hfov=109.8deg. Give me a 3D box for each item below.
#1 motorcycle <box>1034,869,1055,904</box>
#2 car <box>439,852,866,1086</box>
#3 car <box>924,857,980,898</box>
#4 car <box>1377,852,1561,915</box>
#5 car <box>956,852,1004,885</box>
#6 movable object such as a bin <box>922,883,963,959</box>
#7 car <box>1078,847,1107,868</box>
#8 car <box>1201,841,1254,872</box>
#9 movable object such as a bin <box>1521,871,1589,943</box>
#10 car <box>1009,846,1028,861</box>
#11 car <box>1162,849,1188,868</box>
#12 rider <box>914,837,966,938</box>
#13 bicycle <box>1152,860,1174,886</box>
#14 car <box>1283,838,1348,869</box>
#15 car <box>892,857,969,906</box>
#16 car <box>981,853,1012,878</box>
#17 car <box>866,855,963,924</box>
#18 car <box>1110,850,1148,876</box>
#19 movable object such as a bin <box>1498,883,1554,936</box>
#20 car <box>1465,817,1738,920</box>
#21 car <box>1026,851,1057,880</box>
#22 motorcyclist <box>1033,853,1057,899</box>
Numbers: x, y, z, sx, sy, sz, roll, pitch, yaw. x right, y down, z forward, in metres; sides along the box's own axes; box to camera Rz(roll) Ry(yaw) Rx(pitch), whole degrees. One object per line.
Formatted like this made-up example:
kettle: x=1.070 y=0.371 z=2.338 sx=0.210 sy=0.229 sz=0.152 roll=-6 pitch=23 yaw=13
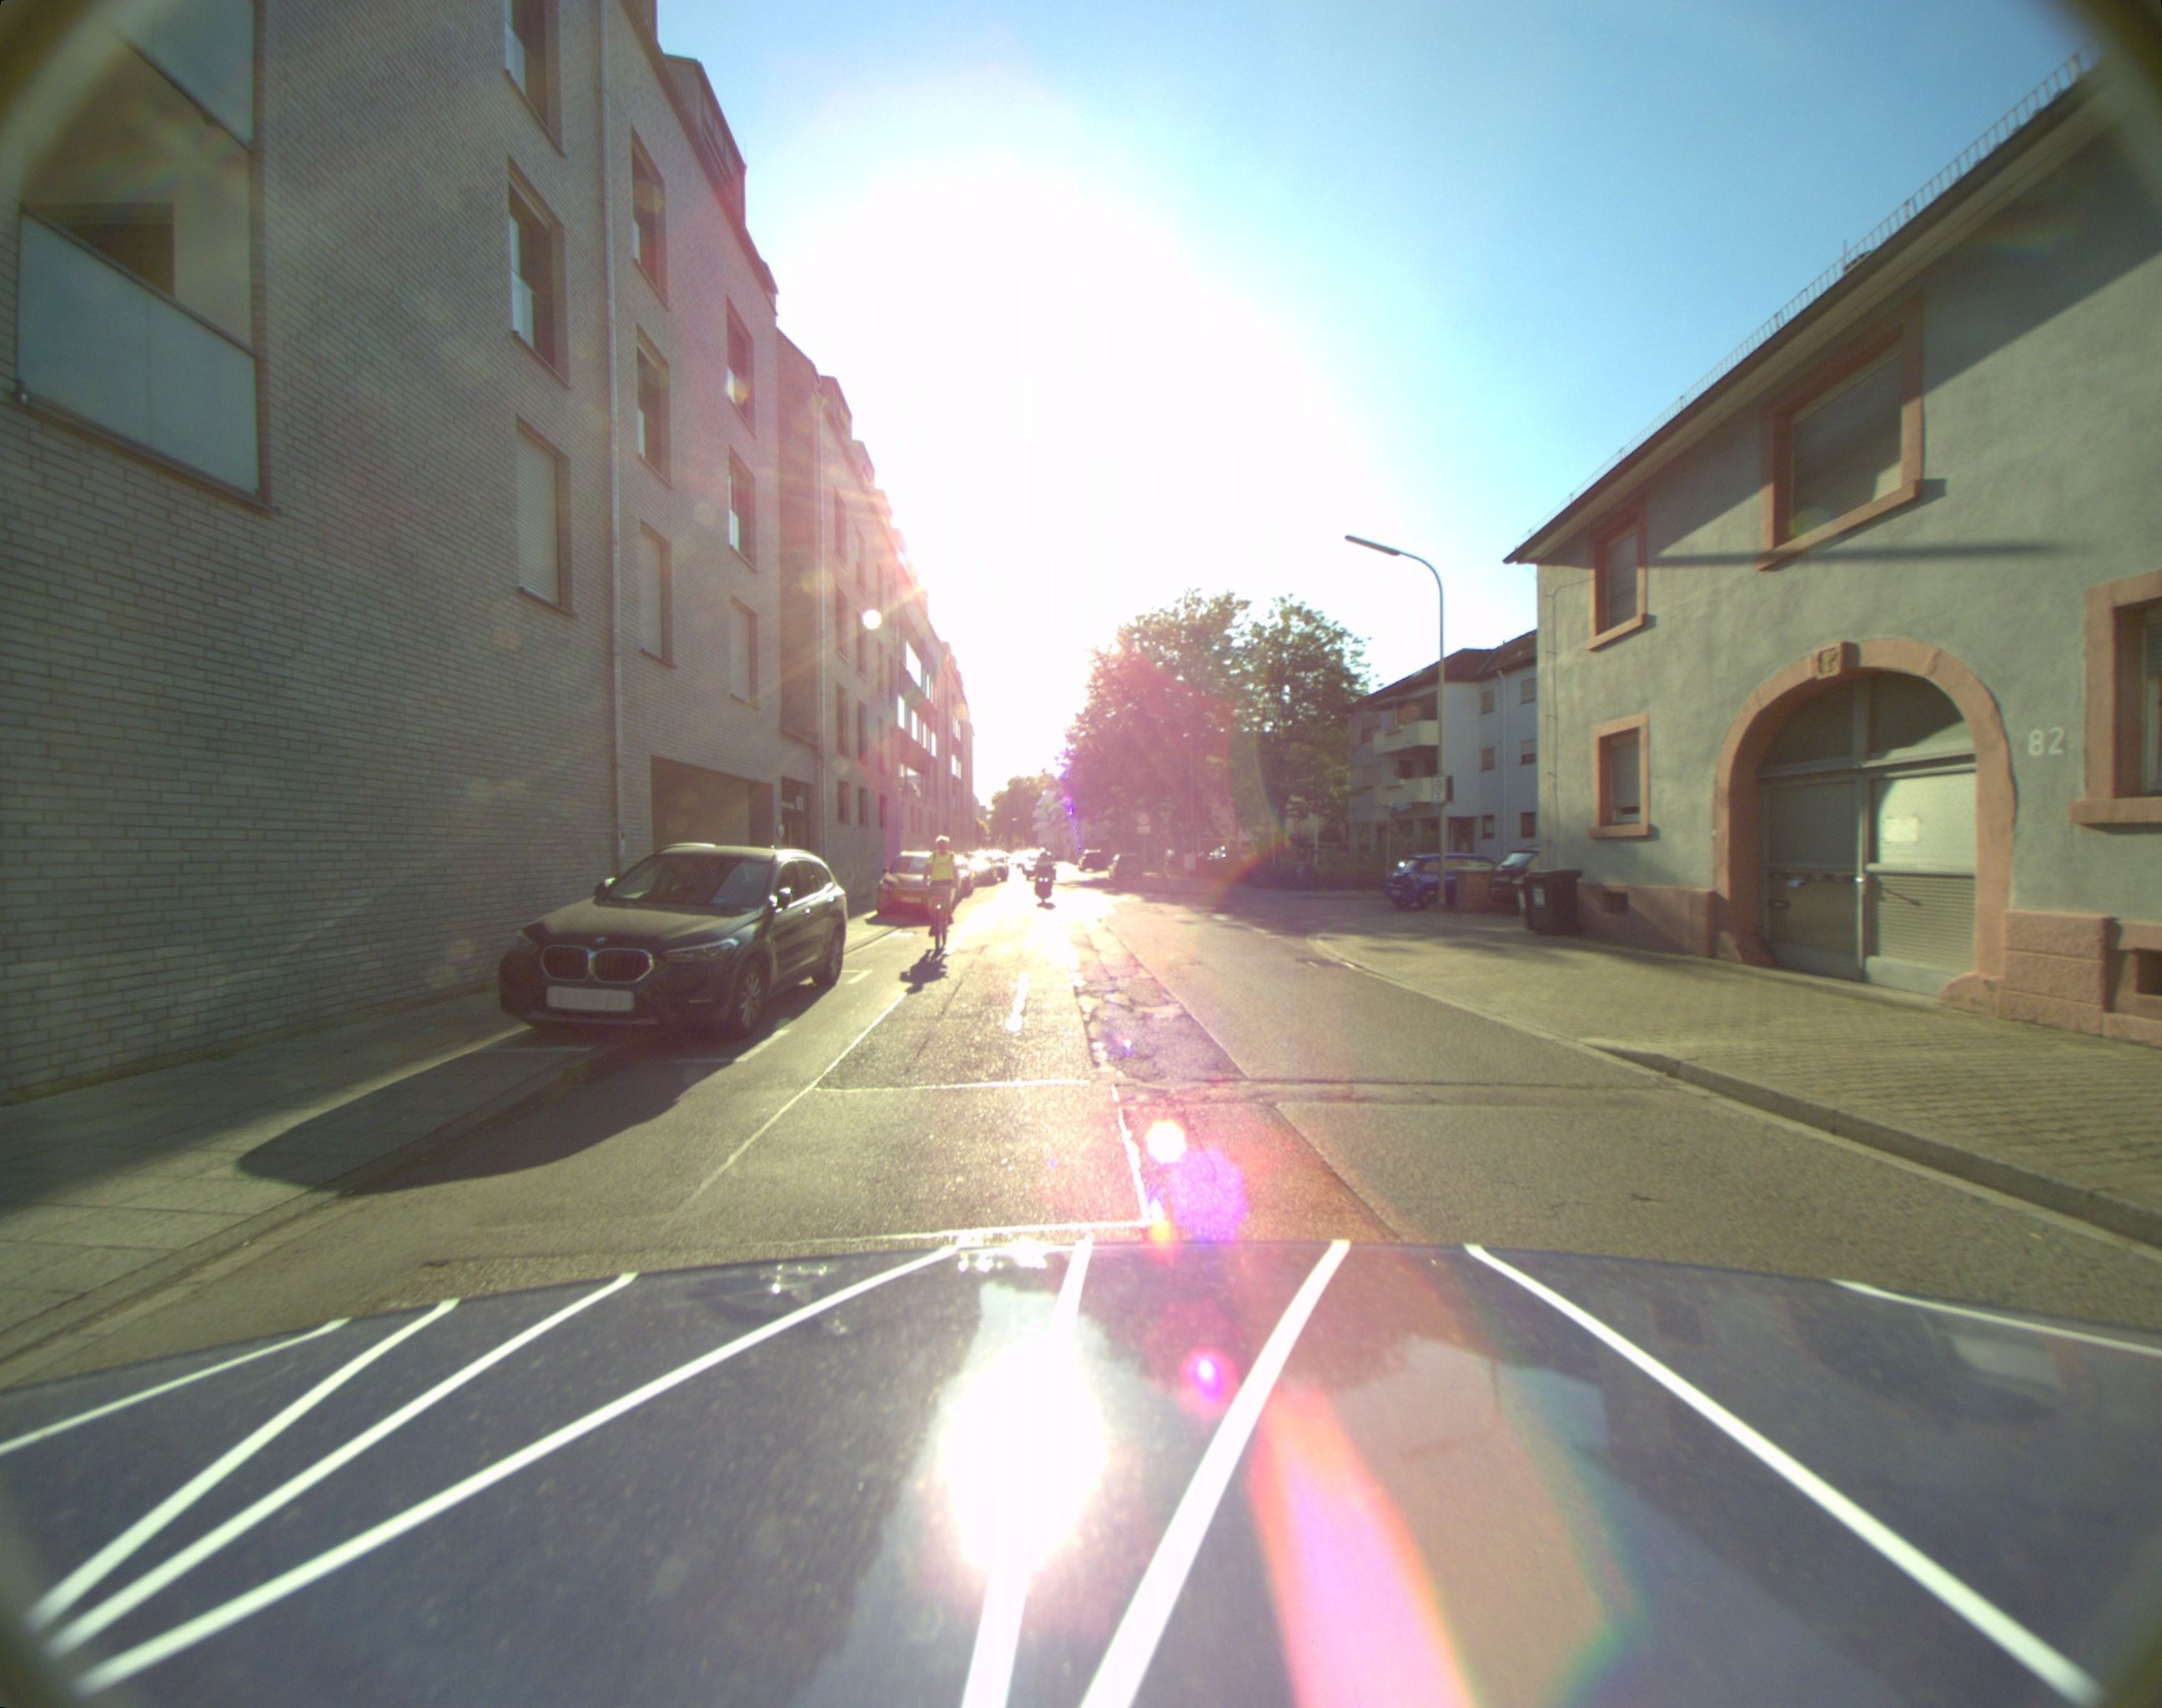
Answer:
motorcycle: x=-1.172 y=1.014 z=24.333 sx=0.599 sy=1.004 sz=1.820 roll=0 pitch=1 yaw=-5
car: x=-3.722 y=0.832 z=7.773 sx=1.860 sy=1.627 sz=4.621 roll=2 pitch=0 yaw=-2
car: x=-5.127 y=0.908 z=30.667 sx=1.717 sy=1.396 sz=4.071 roll=3 pitch=0 yaw=-4
car: x=10.035 y=0.735 z=19.869 sx=3.778 sy=1.521 sz=1.999 roll=1 pitch=0 yaw=-3
car: x=-5.408 y=0.735 z=41.327 sx=1.894 sy=1.702 sz=4.774 roll=0 pitch=0 yaw=1
movable object such as a bin: x=-2.312 y=1.087 z=12.830 sx=0.456 sy=1.027 sz=1.839 roll=-3 pitch=2 yaw=-5
car: x=0.928 y=0.260 z=65.109 sx=1.937 sy=1.695 sz=5.097 roll=-3 pitch=1 yaw=-5
car: x=9.297 y=0.161 z=48.636 sx=1.849 sy=1.884 sz=4.902 roll=-1 pitch=0 yaw=-8
movable object such as a bin: x=7.633 y=0.837 z=12.251 sx=0.600 sy=1.088 sz=0.751 roll=-1 pitch=1 yaw=-3
car: x=-6.019 y=-0.075 z=72.955 sx=1.822 sy=1.458 sz=4.267 roll=0 pitch=1 yaw=-5
car: x=7.588 y=0.343 z=61.596 sx=1.525 sy=1.400 sz=3.637 roll=0 pitch=1 yaw=-3
rider: x=-2.333 y=0.523 z=12.639 sx=0.655 sy=1.553 sz=1.082 roll=-3 pitch=3 yaw=-5
bicycle: x=3.453 y=0.785 z=32.064 sx=0.705 sy=0.997 sz=1.941 roll=-1 pitch=1 yaw=0
car: x=15.226 y=-0.045 z=49.532 sx=2.025 sy=1.937 sz=4.317 roll=-1 pitch=1 yaw=-16
car: x=-4.987 y=0.857 z=25.746 sx=1.999 sy=1.497 sz=4.365 roll=0 pitch=0 yaw=-4
car: x=-5.236 y=0.686 z=47.335 sx=1.822 sy=1.458 sz=4.267 roll=0 pitch=1 yaw=-5
car: x=-4.367 y=0.851 z=20.666 sx=1.999 sy=1.643 sz=4.760 roll=0 pitch=0 yaw=-6
car: x=2.860 y=0.513 z=46.249 sx=1.702 sy=1.483 sz=3.998 roll=-1 pitch=1 yaw=-5
movable object such as a bin: x=7.730 y=0.955 z=13.207 sx=0.600 sy=0.867 sz=0.606 roll=0 pitch=1 yaw=-5
car: x=10.940 y=0.318 z=16.206 sx=4.375 sy=1.784 sz=1.988 roll=-4 pitch=-2 yaw=-2
car: x=-2.459 y=0.681 z=46.409 sx=1.709 sy=1.570 sz=3.913 roll=-2 pitch=1 yaw=-5
motorcyclist: x=-1.153 y=0.675 z=24.039 sx=0.718 sy=1.424 sz=0.746 roll=0 pitch=1 yaw=-5
